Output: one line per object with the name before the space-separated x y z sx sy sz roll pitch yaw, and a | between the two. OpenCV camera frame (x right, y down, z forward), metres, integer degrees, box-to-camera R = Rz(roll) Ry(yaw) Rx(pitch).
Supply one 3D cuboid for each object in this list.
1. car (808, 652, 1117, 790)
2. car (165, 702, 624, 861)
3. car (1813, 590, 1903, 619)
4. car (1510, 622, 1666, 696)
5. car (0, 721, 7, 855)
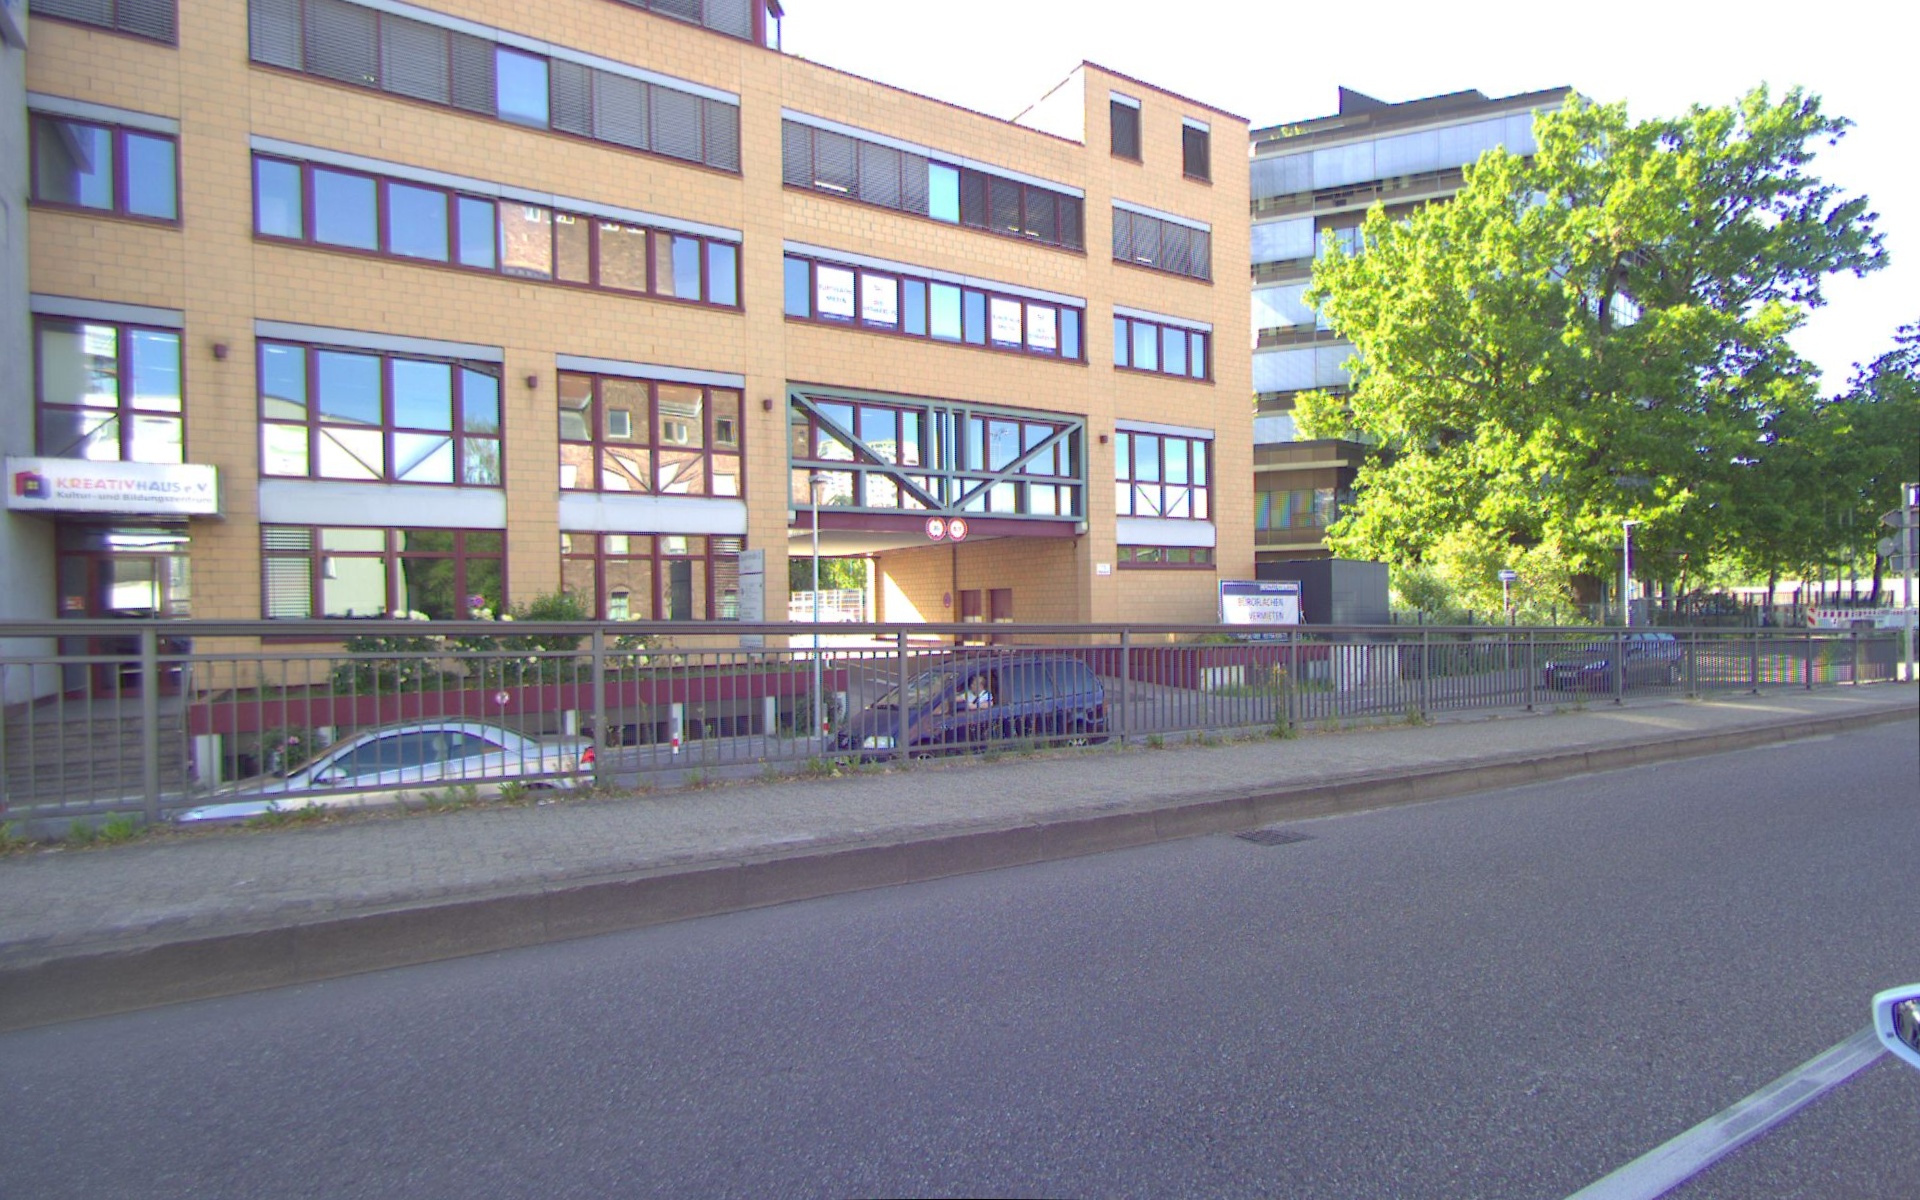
car | 0.134 1.698 15.211 4.541 1.669 1.710 0 -2 -36
car | -6.135 1.899 11.302 4.210 1.181 1.713 0 -2 -32
car | 59.679 0.333 66.898 1.885 1.818 4.901 -1 -1 5
car | 16.433 1.468 26.269 3.953 1.715 1.843 -1 0 -30
car | -10.637 1.811 8.282 3.766 1.286 1.567 0 -2 -32
